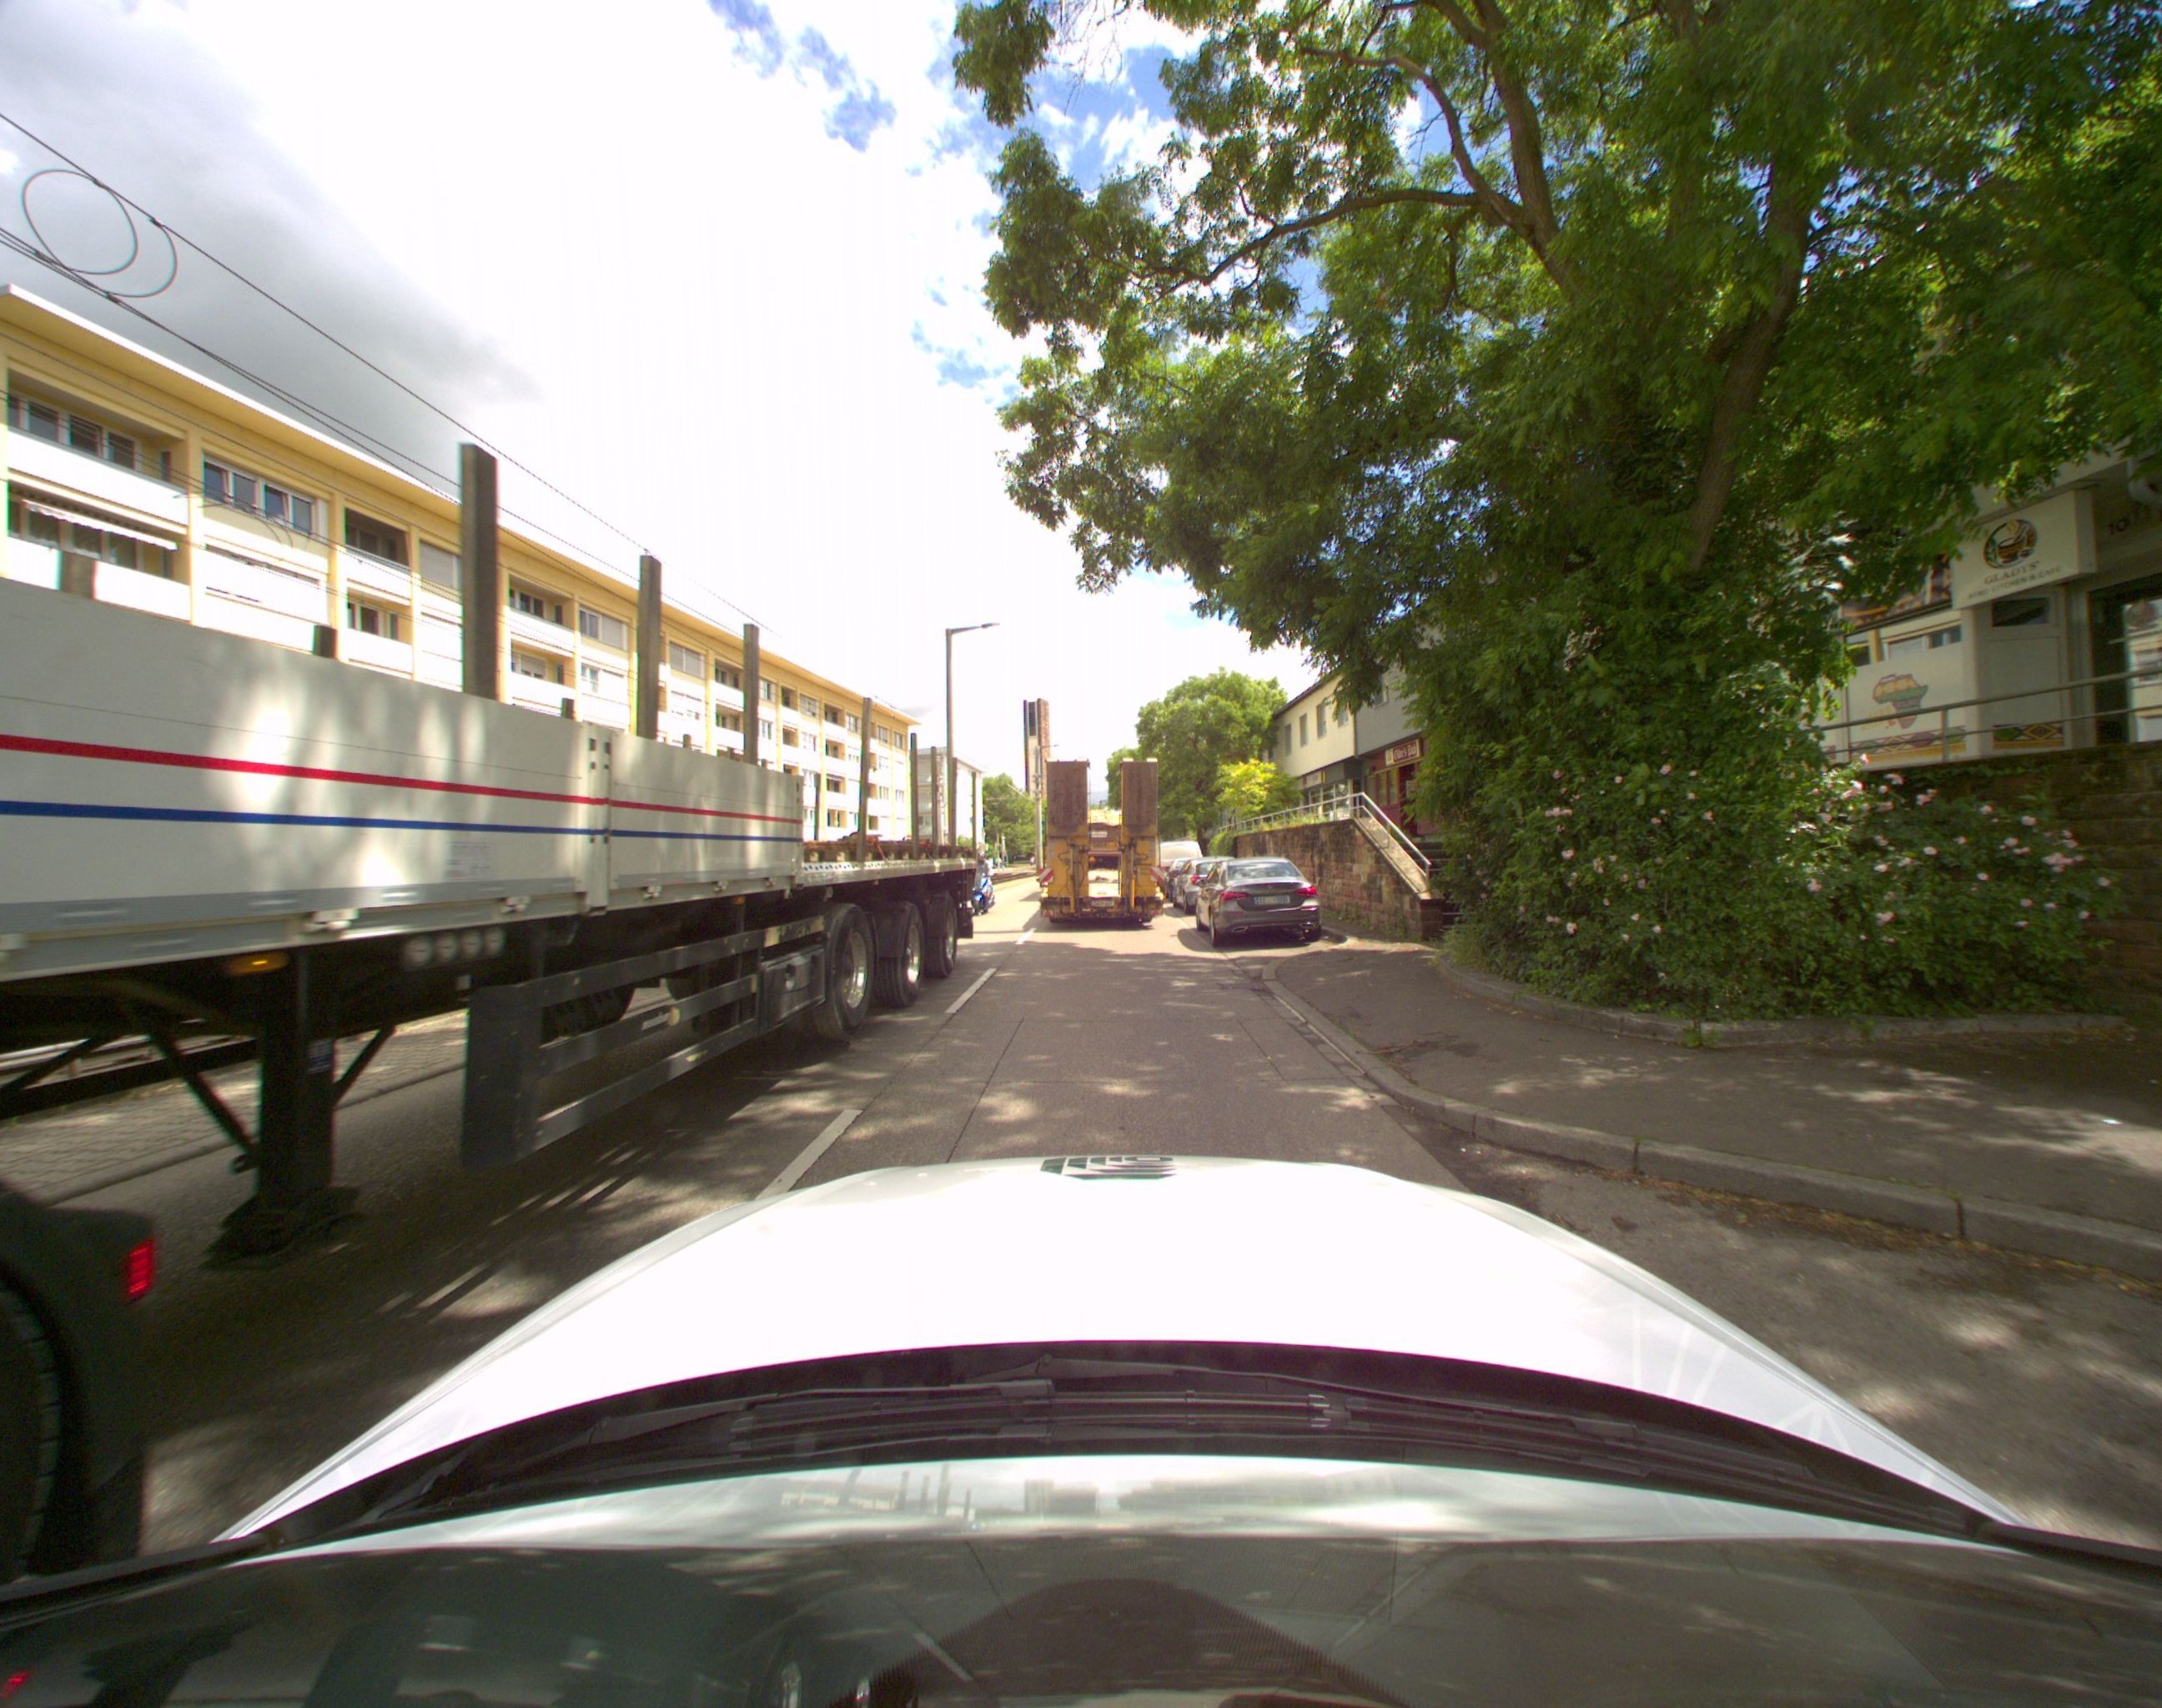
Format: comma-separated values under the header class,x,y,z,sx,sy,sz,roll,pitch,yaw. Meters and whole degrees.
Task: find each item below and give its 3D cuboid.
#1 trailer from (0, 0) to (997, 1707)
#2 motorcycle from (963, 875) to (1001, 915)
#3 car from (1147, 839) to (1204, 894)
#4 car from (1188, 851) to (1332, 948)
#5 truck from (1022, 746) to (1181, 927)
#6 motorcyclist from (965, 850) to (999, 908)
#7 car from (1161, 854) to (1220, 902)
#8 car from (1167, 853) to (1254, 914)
class,x,y,z,sx,sy,sz,roll,pitch,yaw
trailer,-2.853,-0.324,5.743,2.688,3.580,13.680,0,0,2
motorcycle,-2.602,1.067,21.519,0.744,0.954,1.833,0,0,1
car,3.694,0.444,32.554,1.792,1.968,4.592,-2,0,2
car,3.072,0.702,14.871,1.828,1.405,4.417,-2,0,3
truck,0.512,-0.397,22.584,3.113,3.564,12.461,-1,0,1
motorcyclist,-2.616,0.648,21.507,0.744,1.467,0.887,-1,0,1
car,3.591,0.751,27.186,1.614,1.405,3.652,-2,0,3
car,3.393,0.712,22.002,1.685,1.405,4.068,-2,0,0
